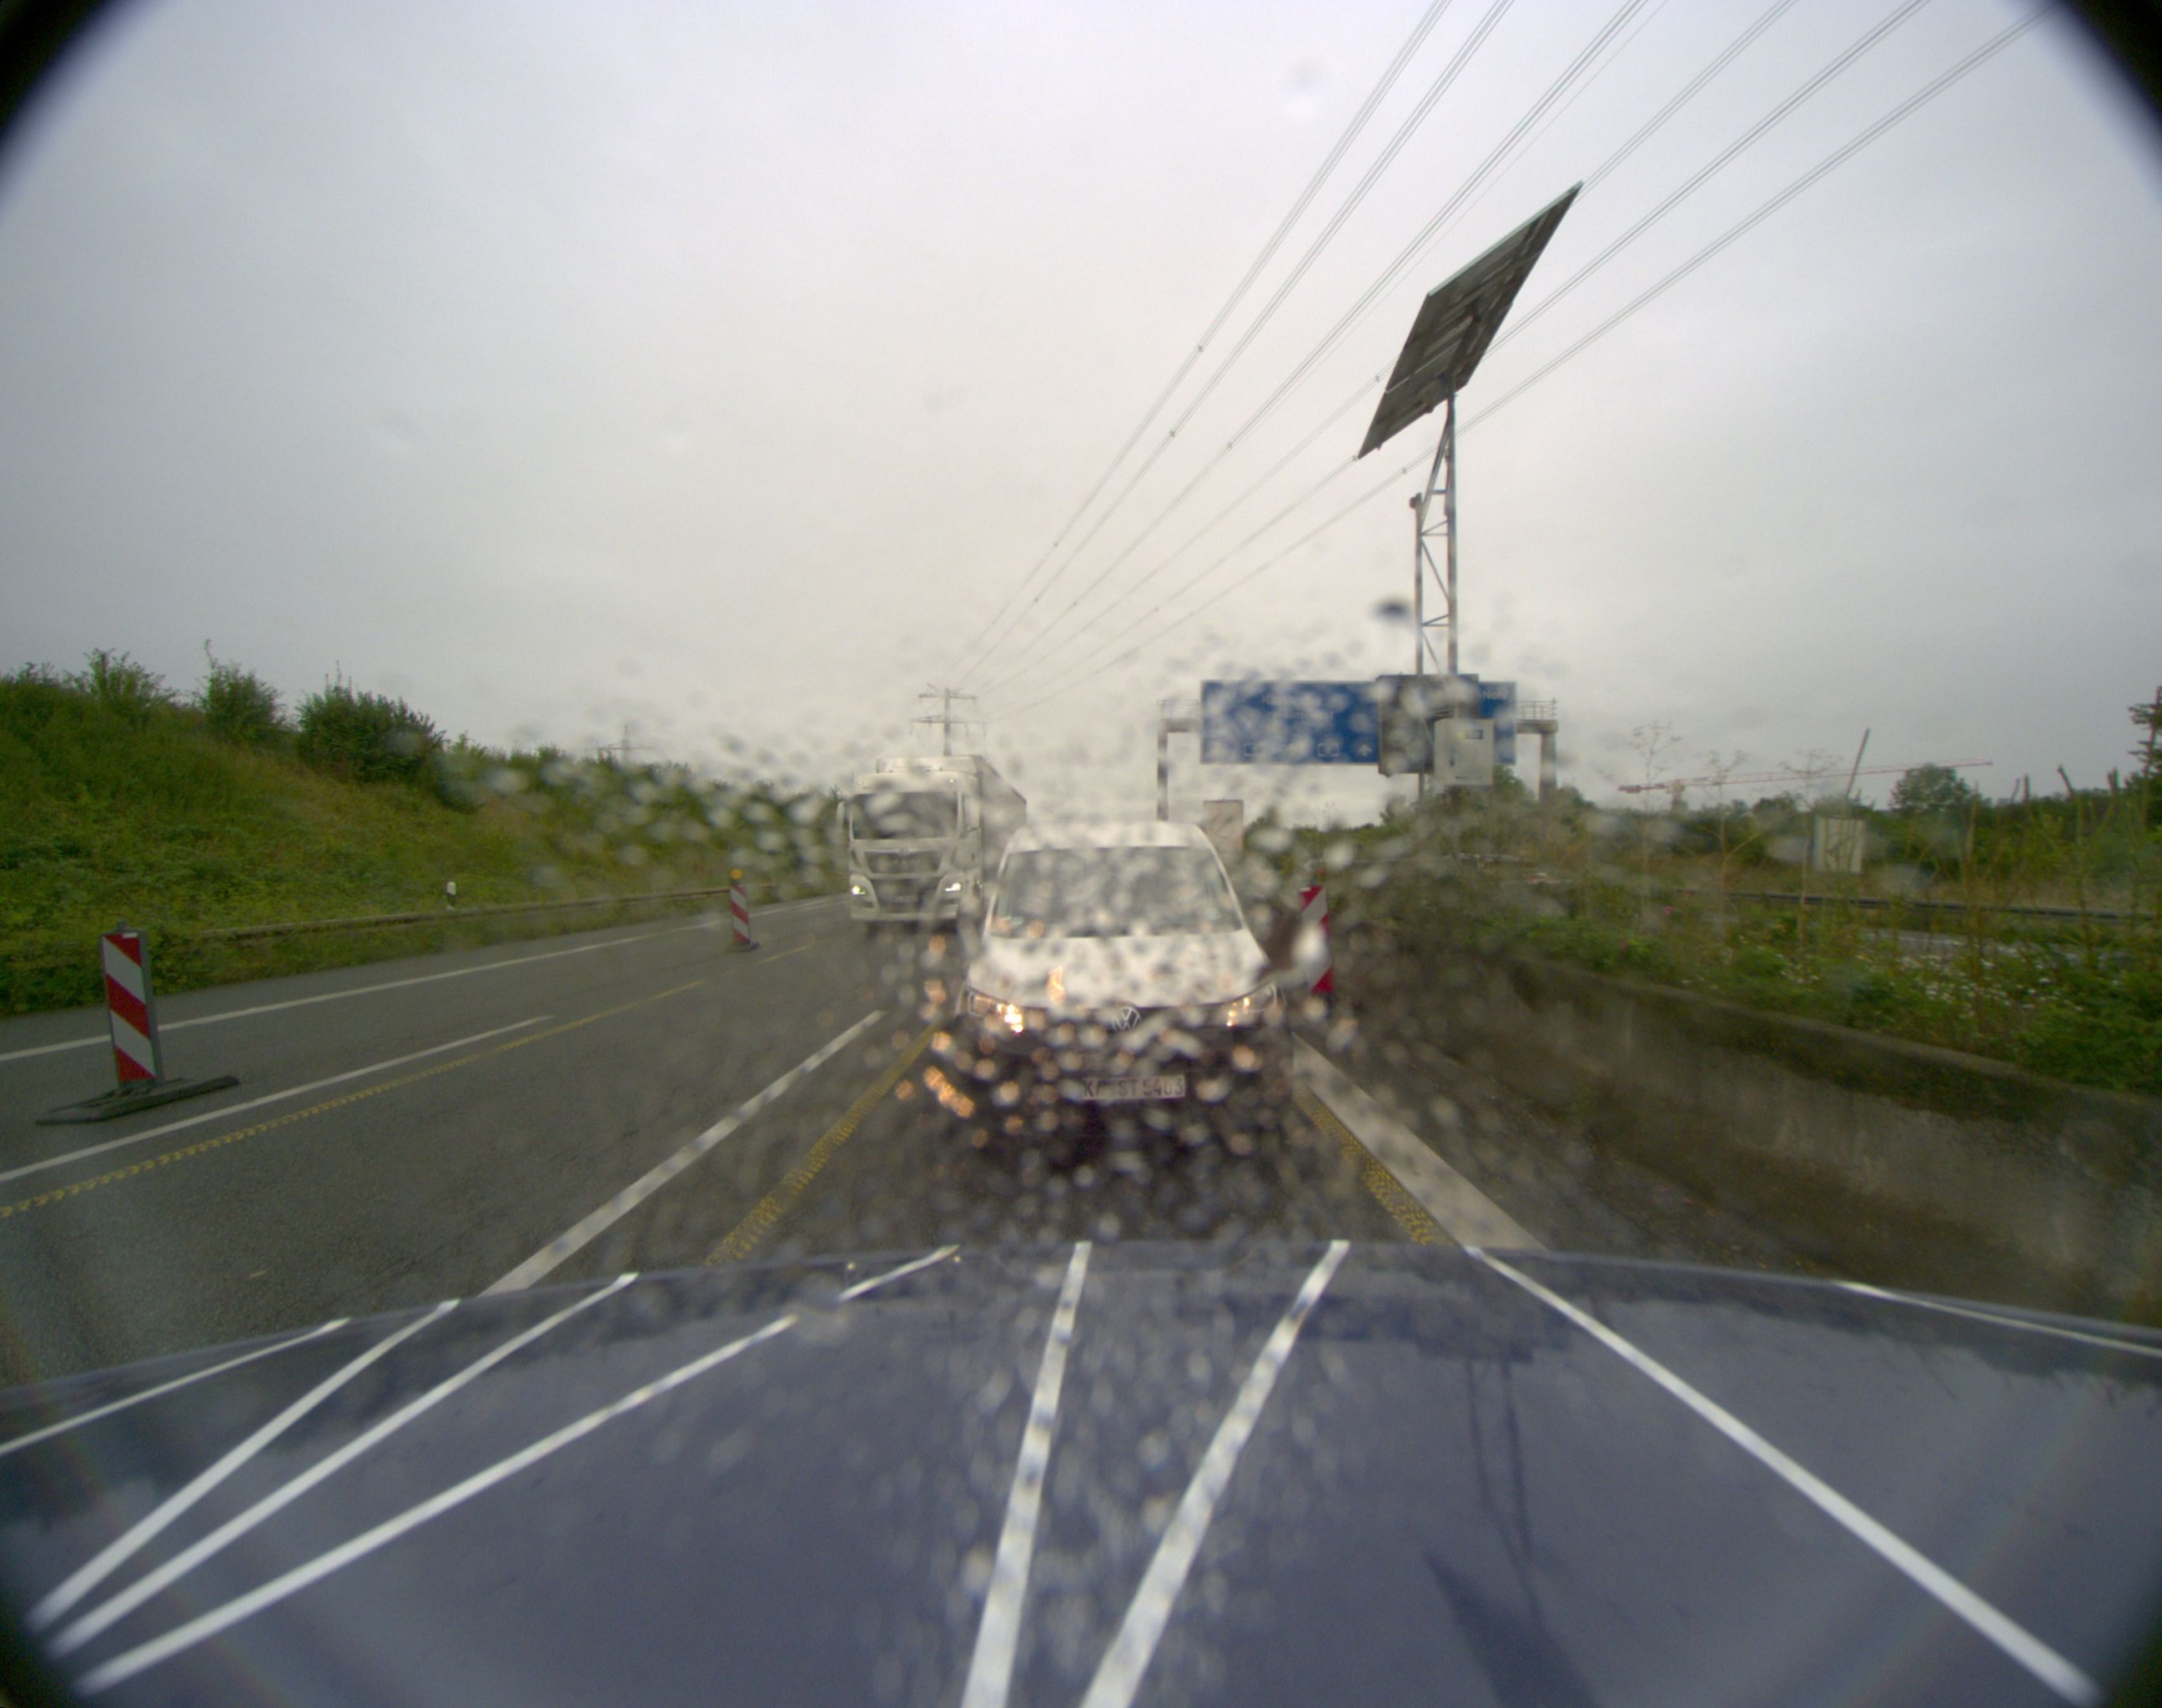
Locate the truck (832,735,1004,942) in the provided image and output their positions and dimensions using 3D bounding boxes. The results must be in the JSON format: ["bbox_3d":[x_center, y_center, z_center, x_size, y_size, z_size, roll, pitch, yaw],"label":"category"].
[{"bbox_3d":[-3.585,-0.321,18.201,2.713,4.114,5.690,-1,0,1],"label":"truck"}]

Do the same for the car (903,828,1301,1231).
[{"bbox_3d":[0.127,0.799,5.634,1.768,1.803,4.345,-1,0,1],"label":"car"}]

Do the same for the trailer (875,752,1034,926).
[{"bbox_3d":[-3.482,-0.381,25.236,2.713,4.122,13.731,-1,0,1],"label":"trailer"}]

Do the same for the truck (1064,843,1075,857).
[{"bbox_3d":[-3.530,-1.268,229.670,2.875,4.007,8.309,-1,0,1],"label":"truck"}]

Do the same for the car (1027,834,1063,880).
[{"bbox_3d":[-2.296,0.167,49.378,1.998,2.766,5.756,-1,0,0],"label":"car"}]

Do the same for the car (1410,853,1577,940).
[{"bbox_3d":[9.992,0.949,18.799,1.998,1.919,4.000,0,0,1],"label":"car"}]

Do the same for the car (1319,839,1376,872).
[{"bbox_3d":[17.526,0.065,50.154,1.998,2.002,5.059,-1,0,1],"label":"car"}]
